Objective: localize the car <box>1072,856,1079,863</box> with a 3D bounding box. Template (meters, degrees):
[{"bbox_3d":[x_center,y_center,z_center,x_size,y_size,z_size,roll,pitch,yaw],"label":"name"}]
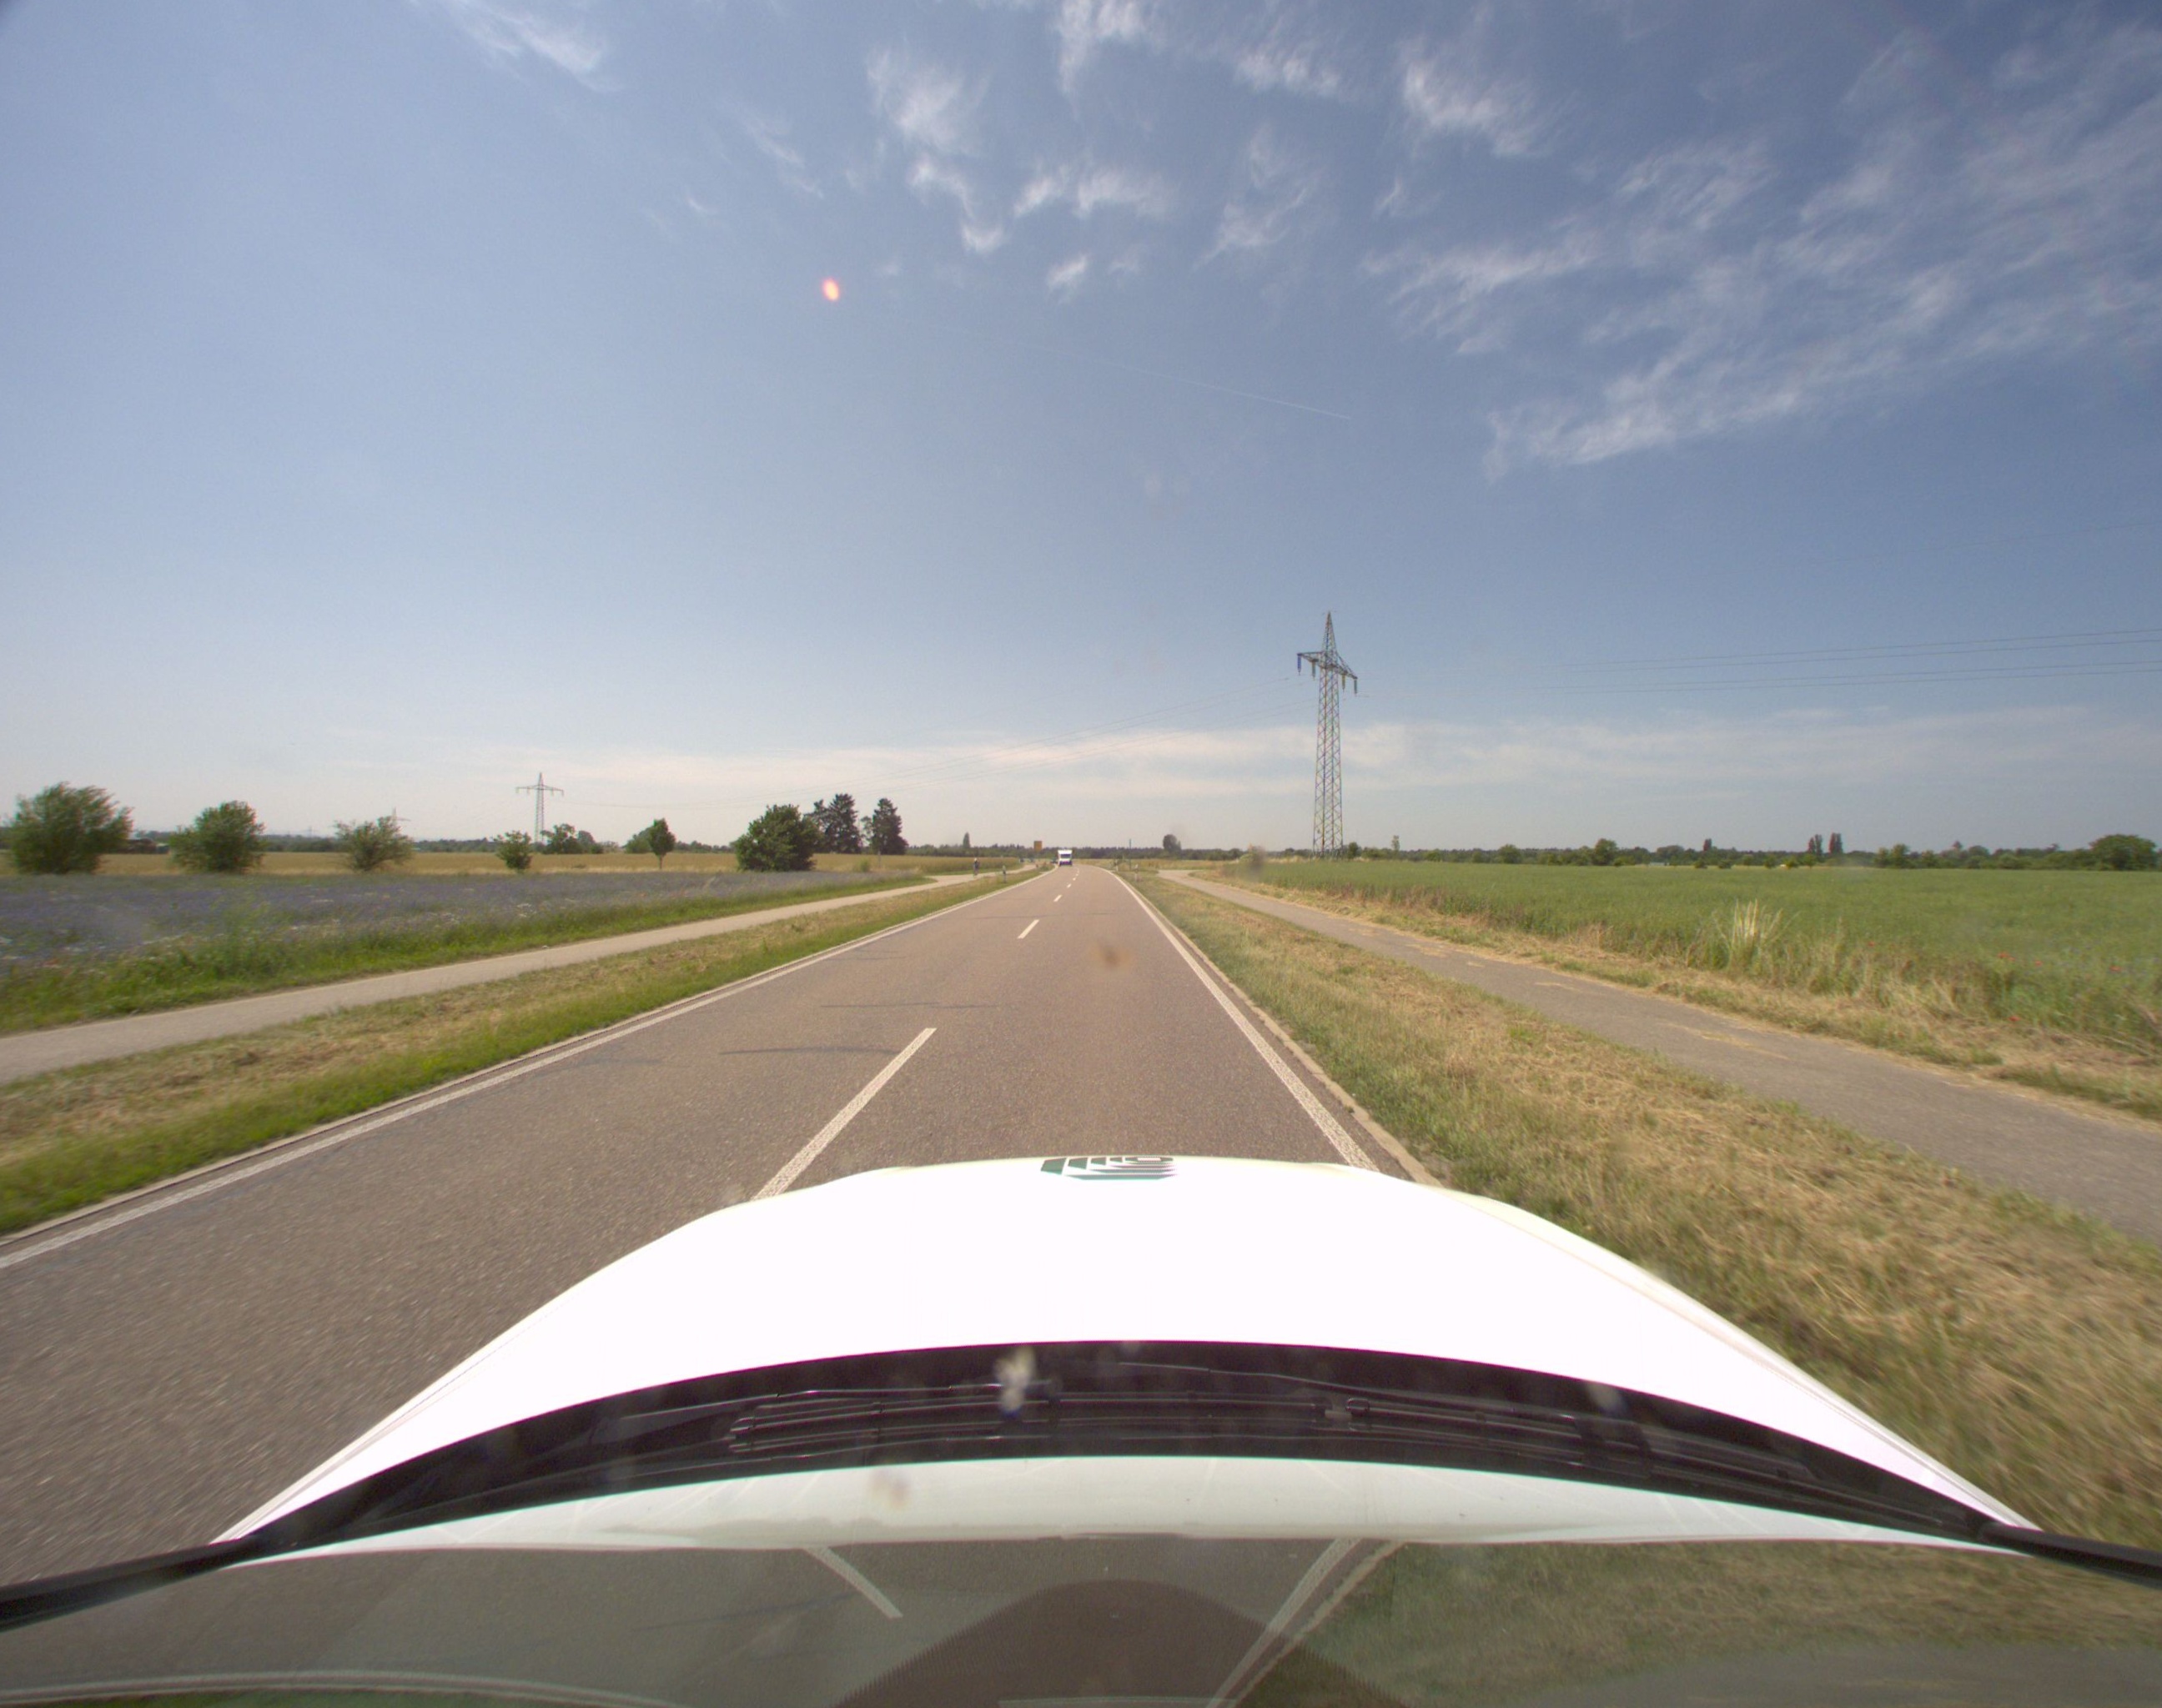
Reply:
[{"bbox_3d":[-1.376,1.297,193.131,1.618,1.491,3.999,0,0,-1],"label":"car"}]

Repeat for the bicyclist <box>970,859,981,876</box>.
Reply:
[{"bbox_3d":[-8.371,1.078,64.841,0.699,1.331,0.965,0,0,1],"label":"bicyclist"}]

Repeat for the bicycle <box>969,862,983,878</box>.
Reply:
[{"bbox_3d":[-8.367,1.271,64.886,0.760,1.229,2.216,0,0,1],"label":"bicycle"}]

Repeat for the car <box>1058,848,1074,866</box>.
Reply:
[{"bbox_3d":[-2.450,0.461,137.385,2.389,2.847,7.629,0,0,1],"label":"car"}]
